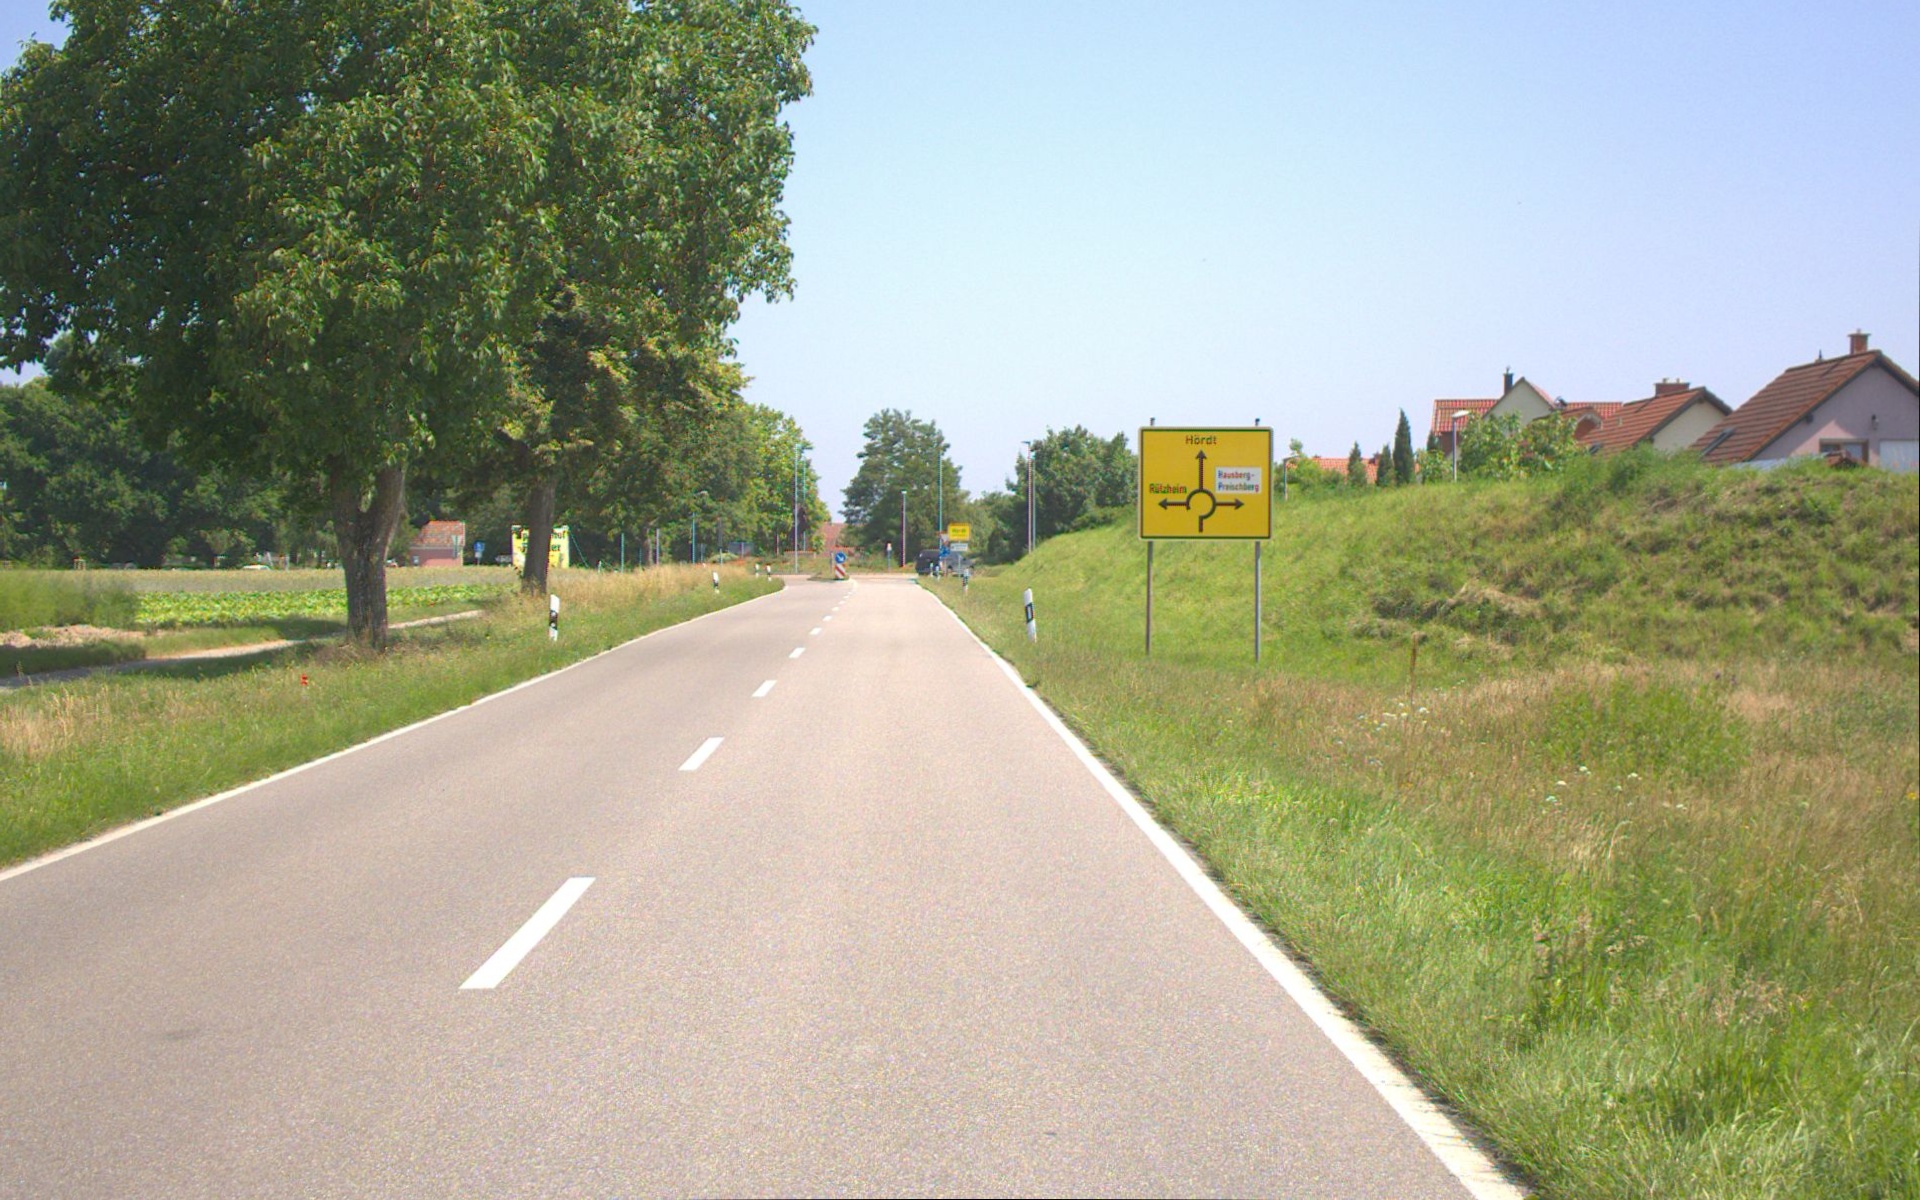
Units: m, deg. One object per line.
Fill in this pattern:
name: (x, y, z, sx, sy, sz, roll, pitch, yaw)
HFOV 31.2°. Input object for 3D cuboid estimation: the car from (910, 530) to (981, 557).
car: (-0.803, -3.232, 195.916, 3.598, 1.531, 1.844, -1, 1, -29)
